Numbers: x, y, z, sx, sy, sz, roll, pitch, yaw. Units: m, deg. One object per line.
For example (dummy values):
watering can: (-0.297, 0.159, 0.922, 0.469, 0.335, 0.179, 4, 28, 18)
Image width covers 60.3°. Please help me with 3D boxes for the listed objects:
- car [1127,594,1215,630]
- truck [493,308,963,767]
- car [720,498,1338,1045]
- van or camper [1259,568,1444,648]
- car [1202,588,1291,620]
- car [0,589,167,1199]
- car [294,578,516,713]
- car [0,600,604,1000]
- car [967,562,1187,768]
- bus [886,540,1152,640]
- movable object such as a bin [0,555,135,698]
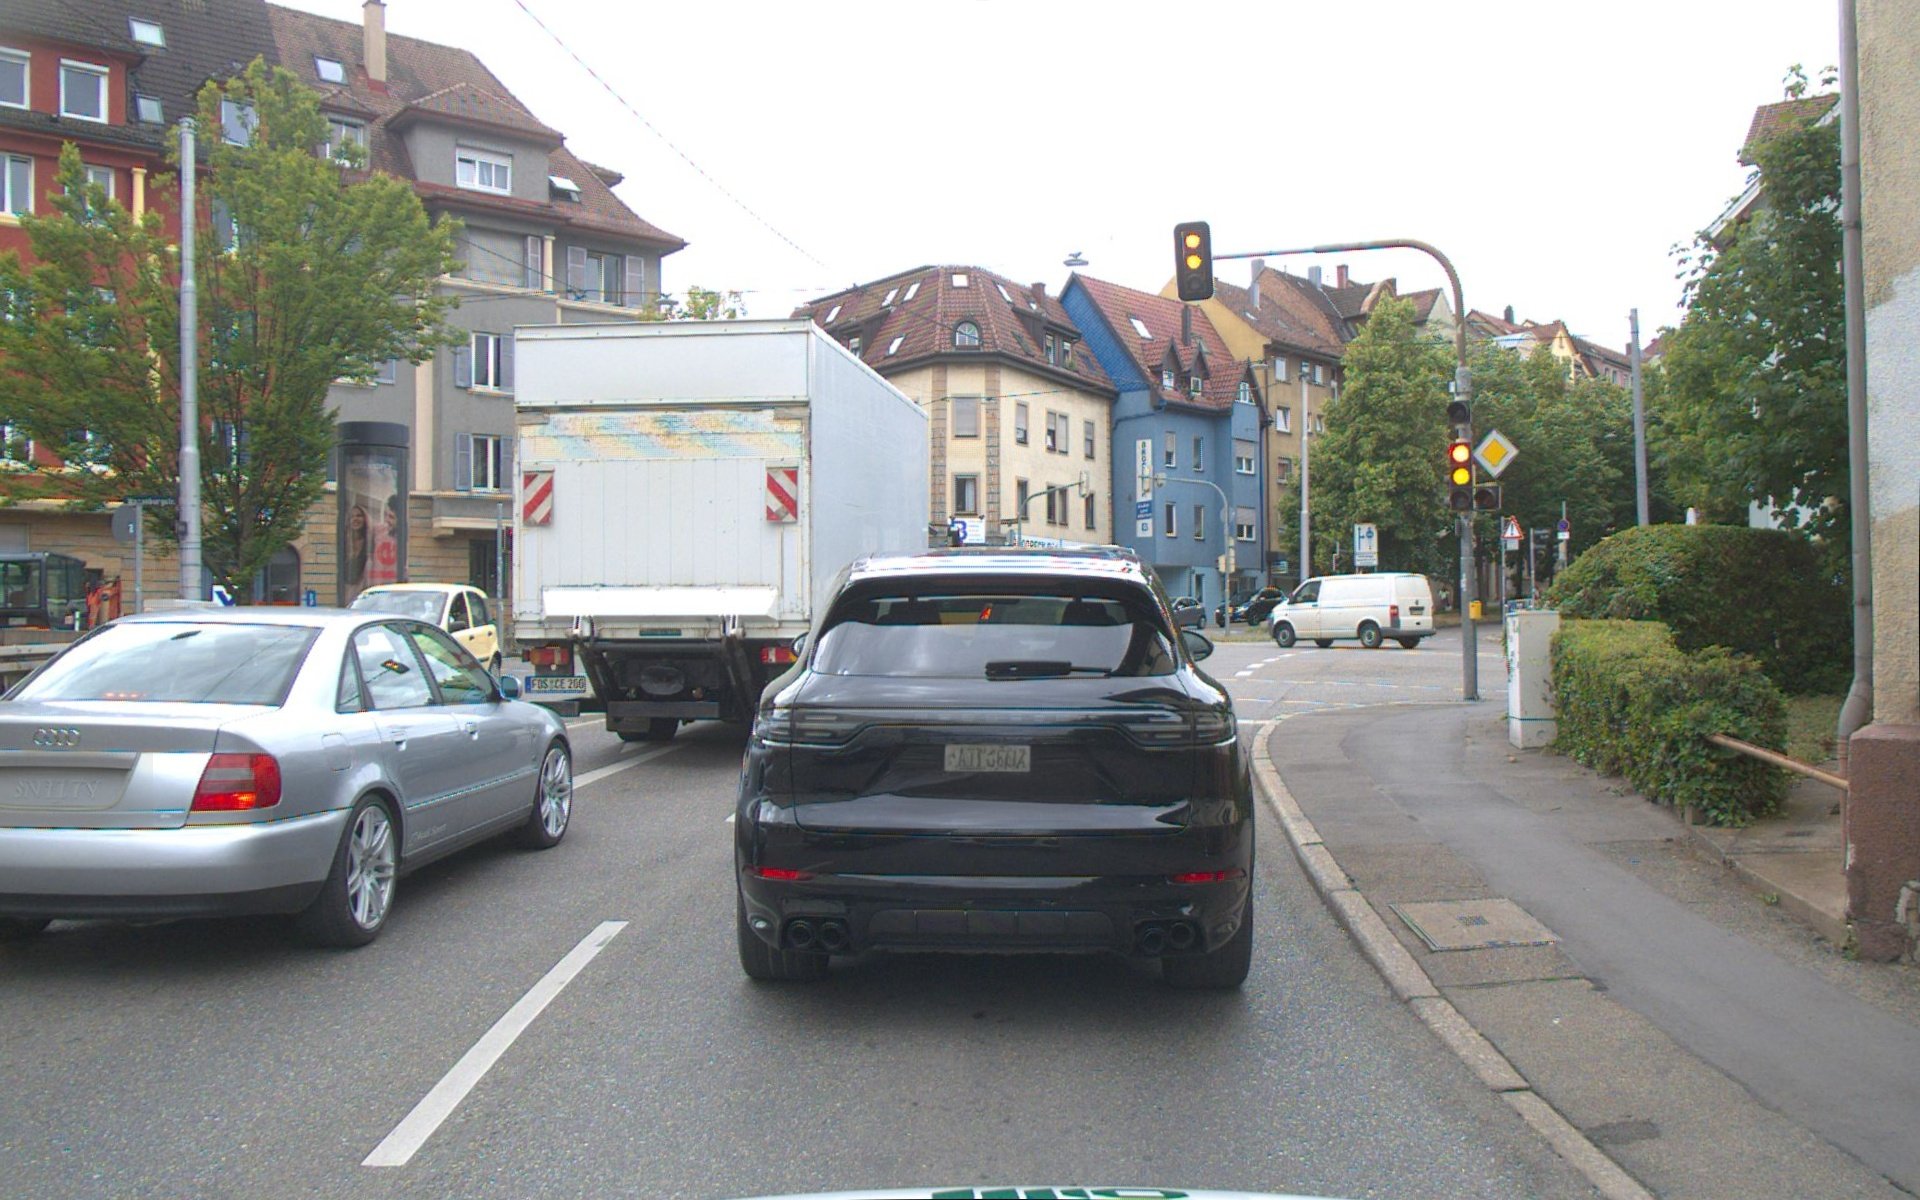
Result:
car: (9.116, 0.511, 71.218, 1.691, 1.502, 4.194, -2, -1, 41)
truck: (-1.863, -0.531, 17.330, 2.667, 3.606, 8.428, 1, 0, 7)
car: (0.197, 0.544, 7.636, 1.990, 1.753, 4.499, 1, 0, -1)
van or camper: (10.616, 0.202, 45.175, 1.979, 2.049, 4.766, 1, 0, -37)
car: (13.223, 0.212, 76.252, 1.843, 1.441, 4.668, -1, -1, 43)
car: (-2.697, 0.713, 1.208, 1.953, 1.454, 4.841, 0, 0, -1)
car: (-7.005, 0.539, 21.221, 1.564, 1.544, 3.460, -1, 0, 2)
car: (-3.103, 0.718, 7.966, 1.594, 1.389, 4.130, -1, 0, 4)
car: (1.152, 0.513, 14.775, 1.613, 1.583, 3.586, 1, 0, 9)
bus: (1.723, -0.238, 57.732, 3.126, 3.150, 12.018, -1, -1, -32)
movable object such as a bin: (-13.949, 0.379, 25.477, 1.351, 2.049, 3.525, -1, 0, -12)
